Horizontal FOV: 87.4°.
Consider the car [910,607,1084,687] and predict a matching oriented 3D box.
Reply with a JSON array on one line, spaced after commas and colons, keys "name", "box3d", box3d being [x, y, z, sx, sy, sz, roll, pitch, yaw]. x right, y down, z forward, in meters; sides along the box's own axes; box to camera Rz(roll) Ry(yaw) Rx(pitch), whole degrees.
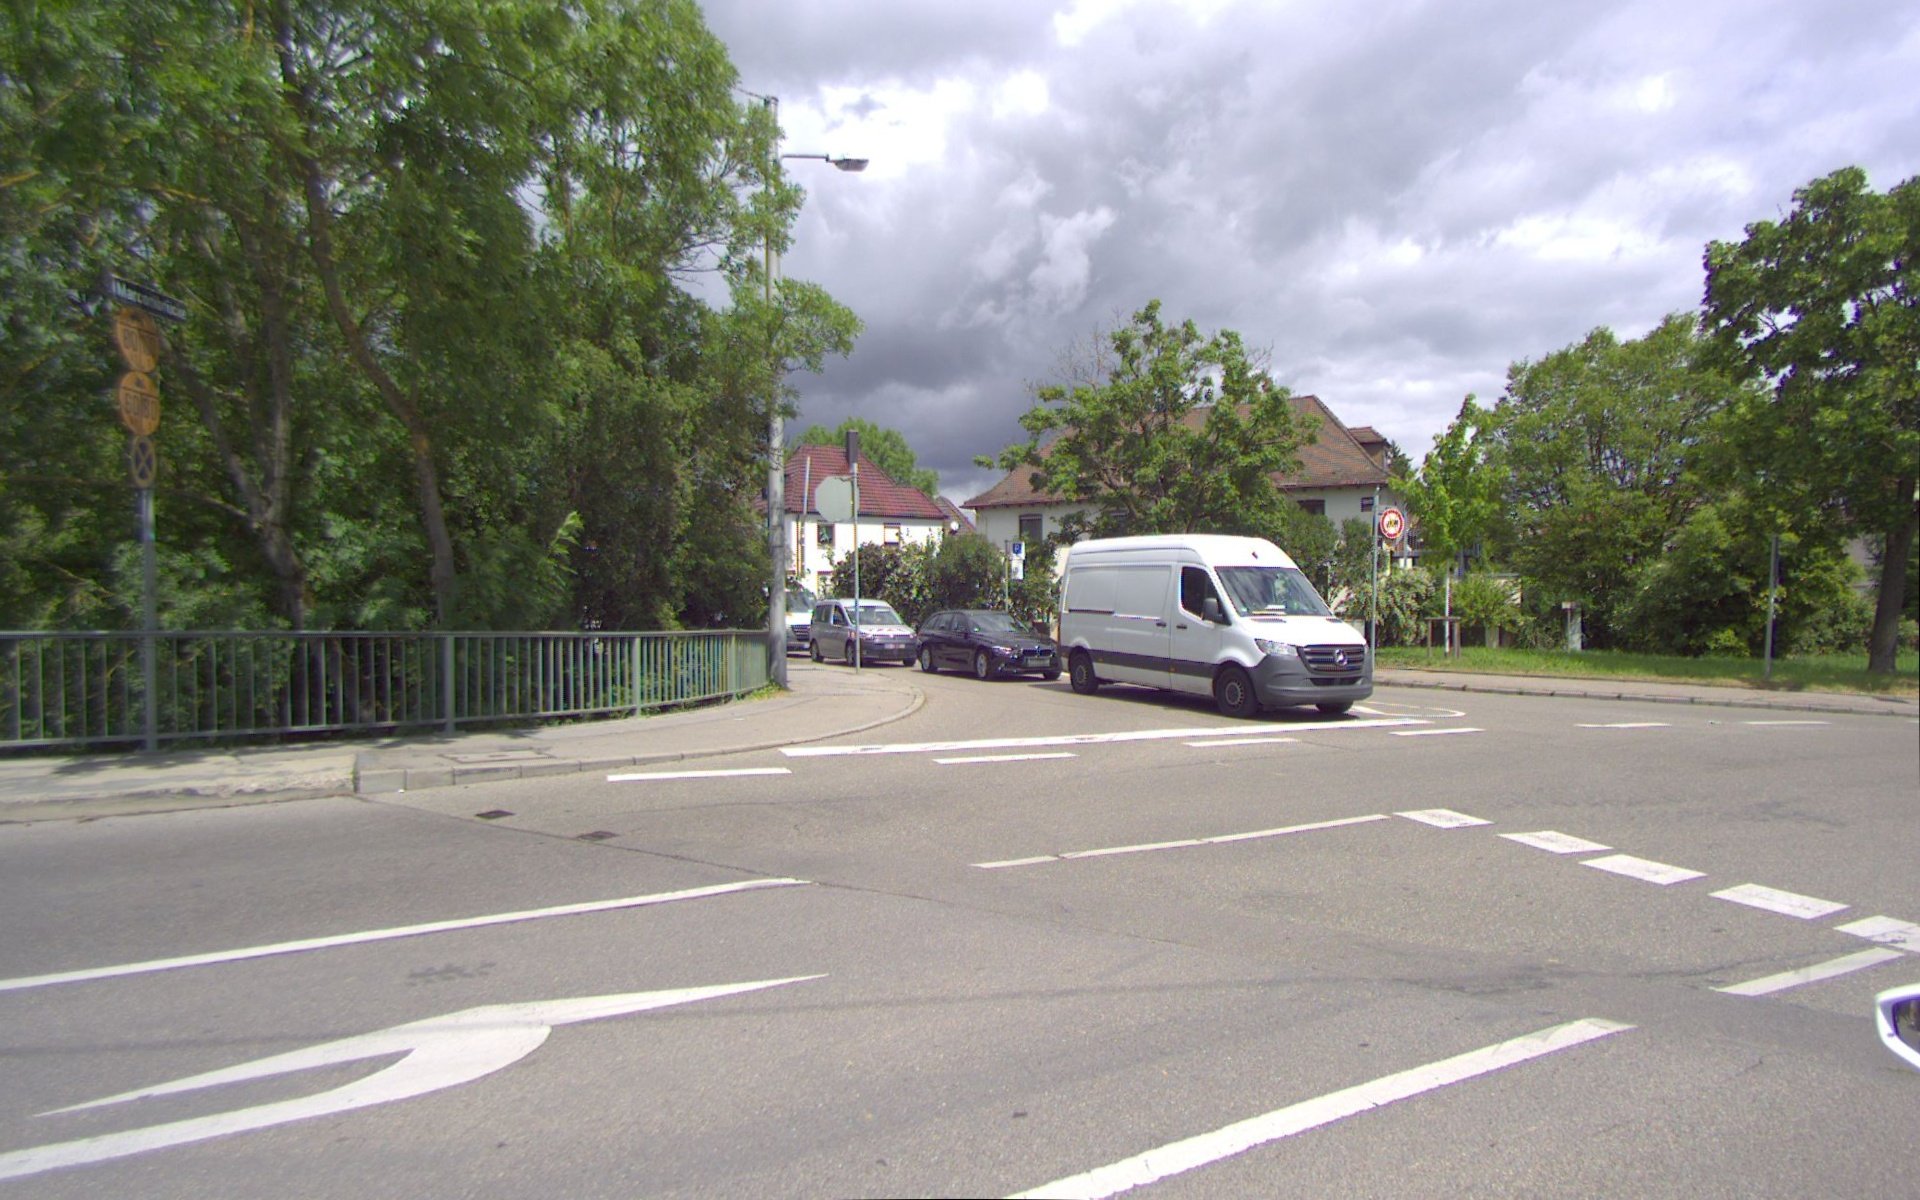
[{"name": "car", "box3d": [0.665, 0.928, 21.500, 1.974, 1.494, 4.201, -1, 0, -27]}]

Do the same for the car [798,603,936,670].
[{"name": "car", "box3d": [-2.569, 0.911, 26.849, 1.977, 1.609, 4.364, -1, 0, -31]}]

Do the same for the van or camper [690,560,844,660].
[{"name": "van or camper", "box3d": [-6.856, 0.487, 34.531, 2.247, 3.034, 8.253, -1, -2, -33]}]

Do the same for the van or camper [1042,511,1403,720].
[{"name": "van or camper", "box3d": [3.706, 0.247, 15.660, 2.165, 2.601, 5.890, 1, -1, -26]}]
